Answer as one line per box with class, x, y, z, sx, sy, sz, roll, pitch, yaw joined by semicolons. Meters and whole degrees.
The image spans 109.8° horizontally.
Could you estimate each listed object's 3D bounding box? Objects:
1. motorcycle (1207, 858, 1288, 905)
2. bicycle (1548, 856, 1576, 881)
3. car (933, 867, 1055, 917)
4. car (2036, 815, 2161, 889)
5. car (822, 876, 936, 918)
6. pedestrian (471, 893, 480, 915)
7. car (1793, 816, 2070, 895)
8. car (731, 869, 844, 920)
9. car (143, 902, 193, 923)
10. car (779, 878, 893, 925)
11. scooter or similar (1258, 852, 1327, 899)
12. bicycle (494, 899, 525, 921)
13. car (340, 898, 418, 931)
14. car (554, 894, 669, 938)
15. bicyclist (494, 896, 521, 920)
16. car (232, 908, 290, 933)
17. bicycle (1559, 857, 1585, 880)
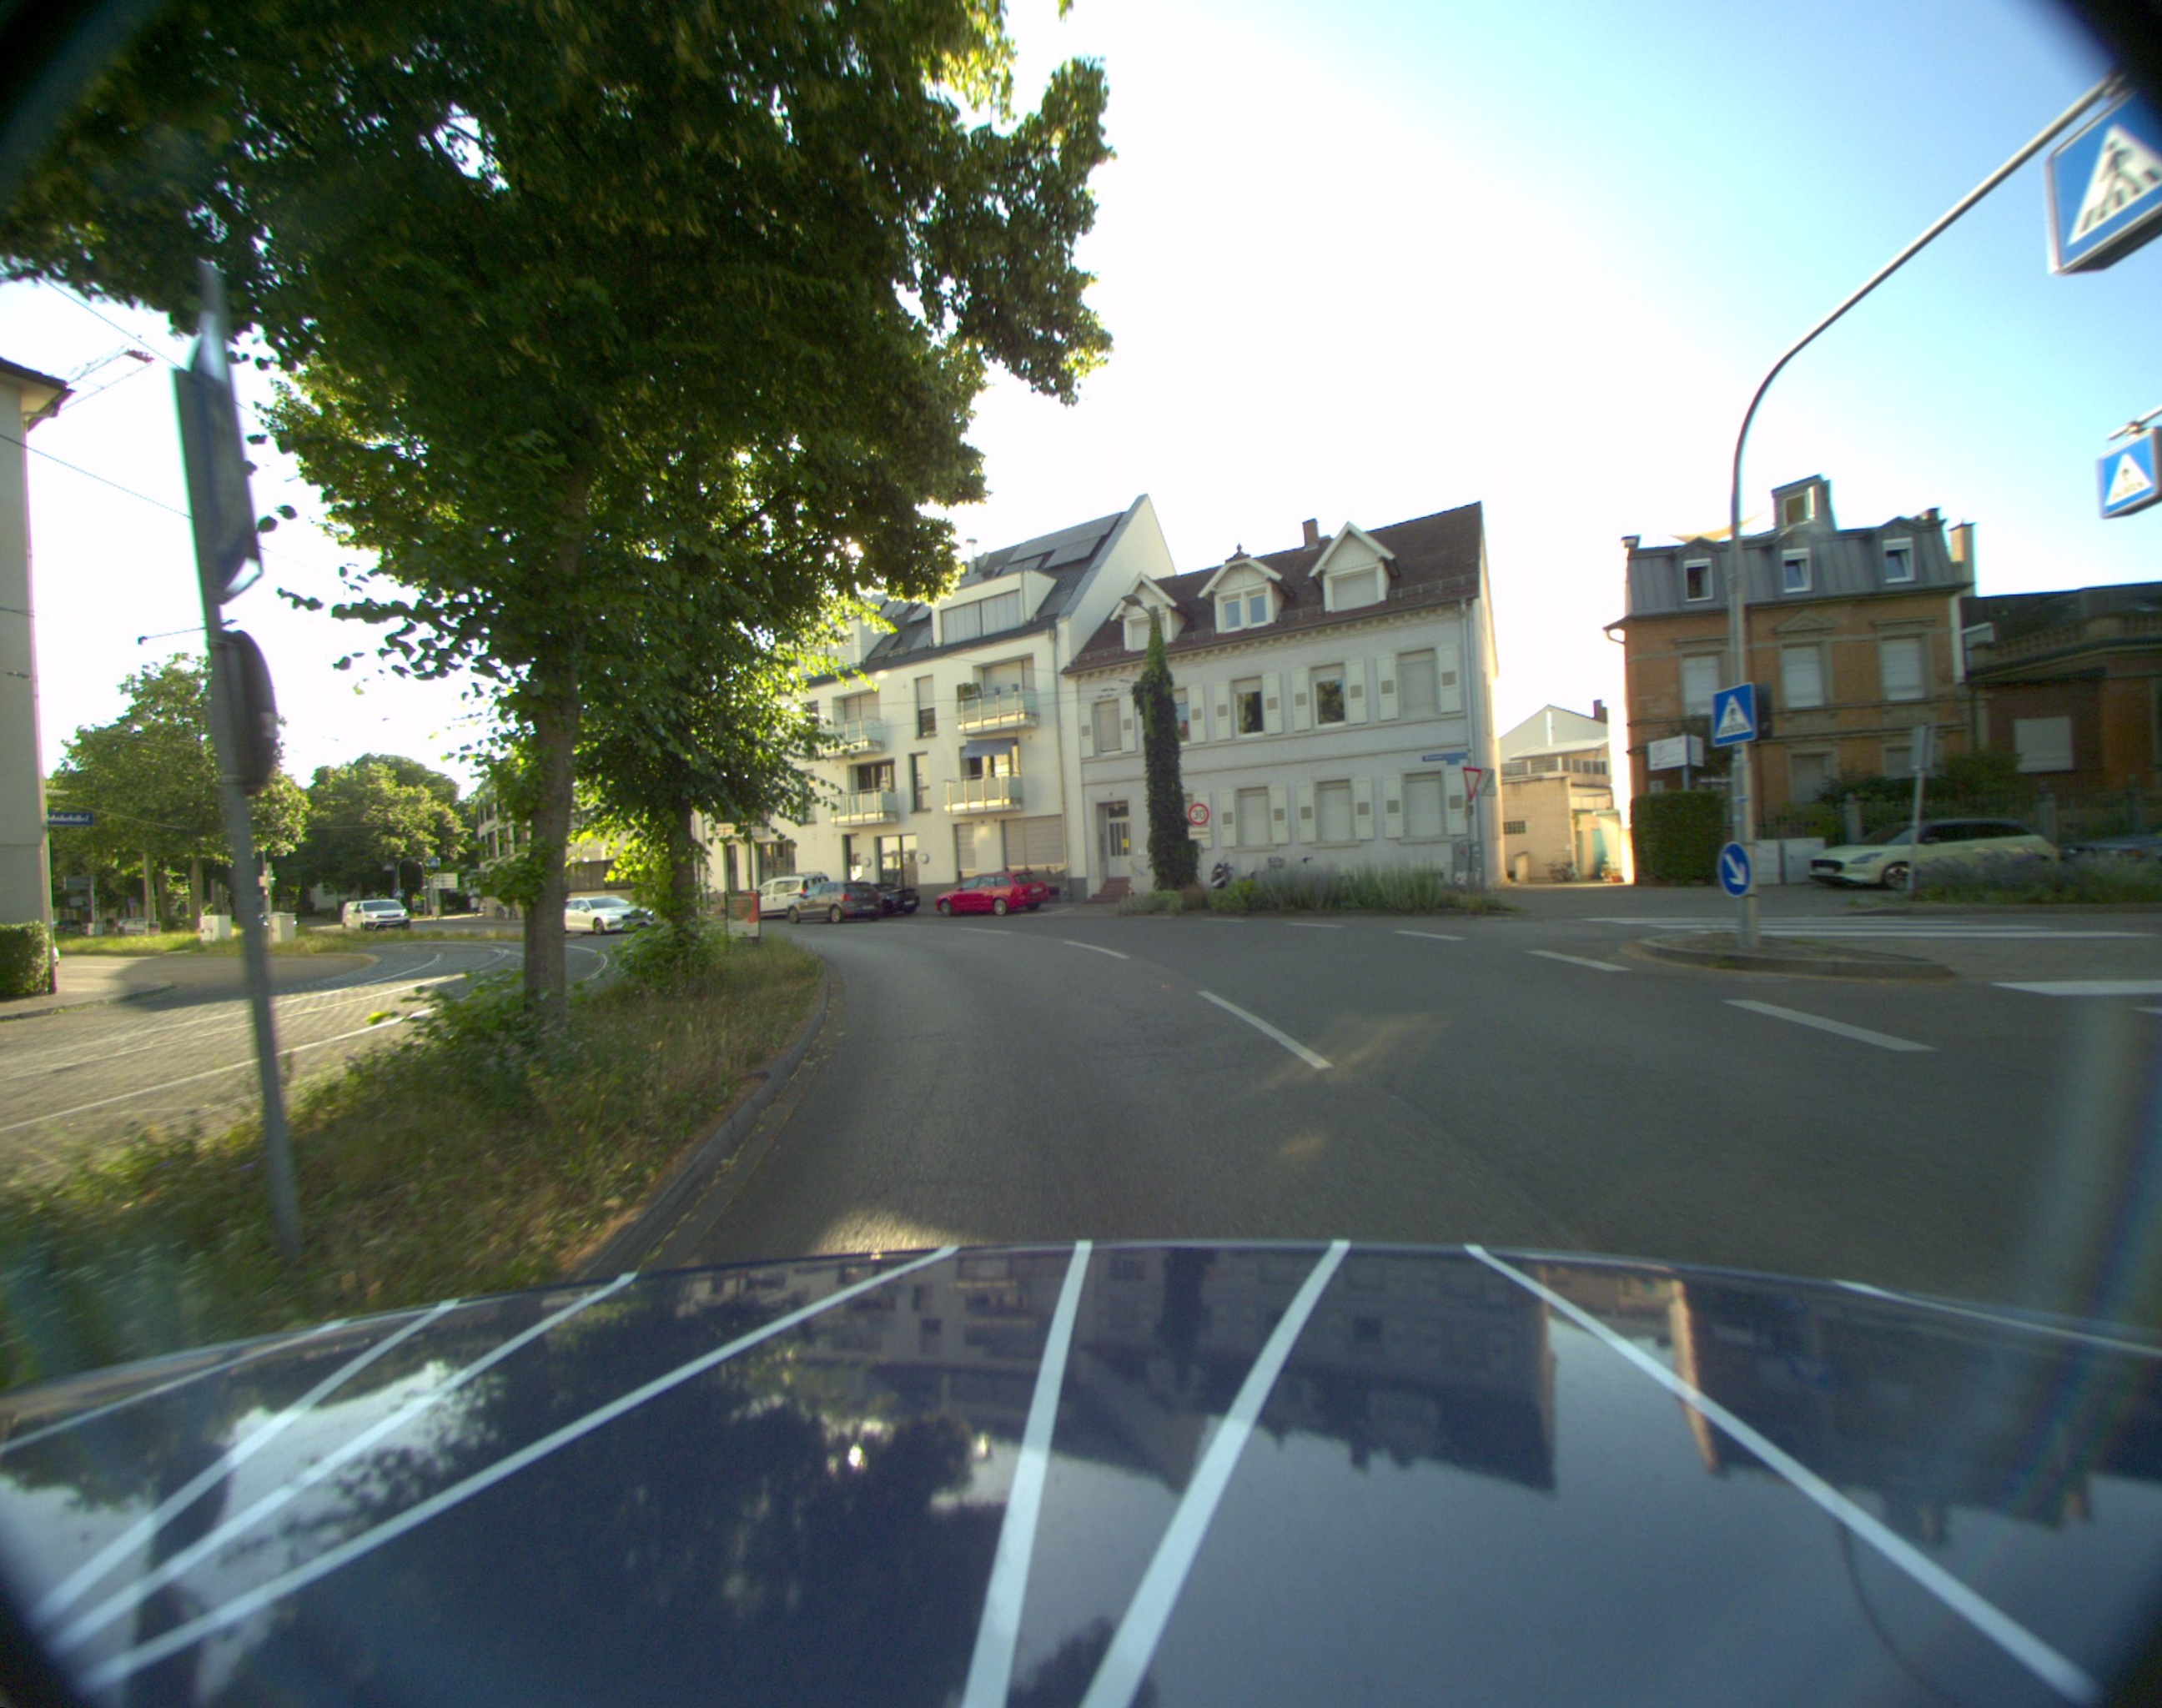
motorcycle;4.741;0.795;21.721;2.104;1.220;0.625;-4;0;33
bicycle;23.741;0.718;37.480;0.703;1.076;2.344;-3;0;43
car;-3.085;1.359;26.441;4.196;1.453;1.610;-5;-1;37
car;23.863;-0.143;16.005;4.688;1.445;1.727;-3;0;9
car;-7.854;1.676;29.444;4.115;1.339;1.939;-4;0;33
pedestrian;-46.351;3.823;58.162;0.401;1.714;0.399;-4;1;-34
car;18.819;0.044;16.997;3.877;1.445;1.703;-3;0;9
car;-12.491;1.726;32.327;4.262;1.945;2.003;-2;0;25
car;-75.370;4.814;62.710;4.921;1.574;2.004;-2;0;33
car;-8.519;1.647;26.290;3.891;1.453;1.610;-4;-1;33
scooter or similar;6.478;0.666;23.340;1.882;1.358;0.625;-3;0;29
bicycle;-38.623;3.792;51.337;2.969;1.385;0.932;-3;0;39
car;-39.208;3.348;42.418;4.921;1.574;2.004;-2;0;33
car;-17.989;2.346;29.061;4.437;1.453;2.004;-3;-1;33
bicyclist;-38.924;3.668;51.593;0.951;1.510;1.154;-3;0;38
car;-59.266;4.743;54.884;4.921;1.574;2.004;-2;0;33
bicycle;25.629;0.749;39.607;0.703;1.076;2.344;-3;0;43
